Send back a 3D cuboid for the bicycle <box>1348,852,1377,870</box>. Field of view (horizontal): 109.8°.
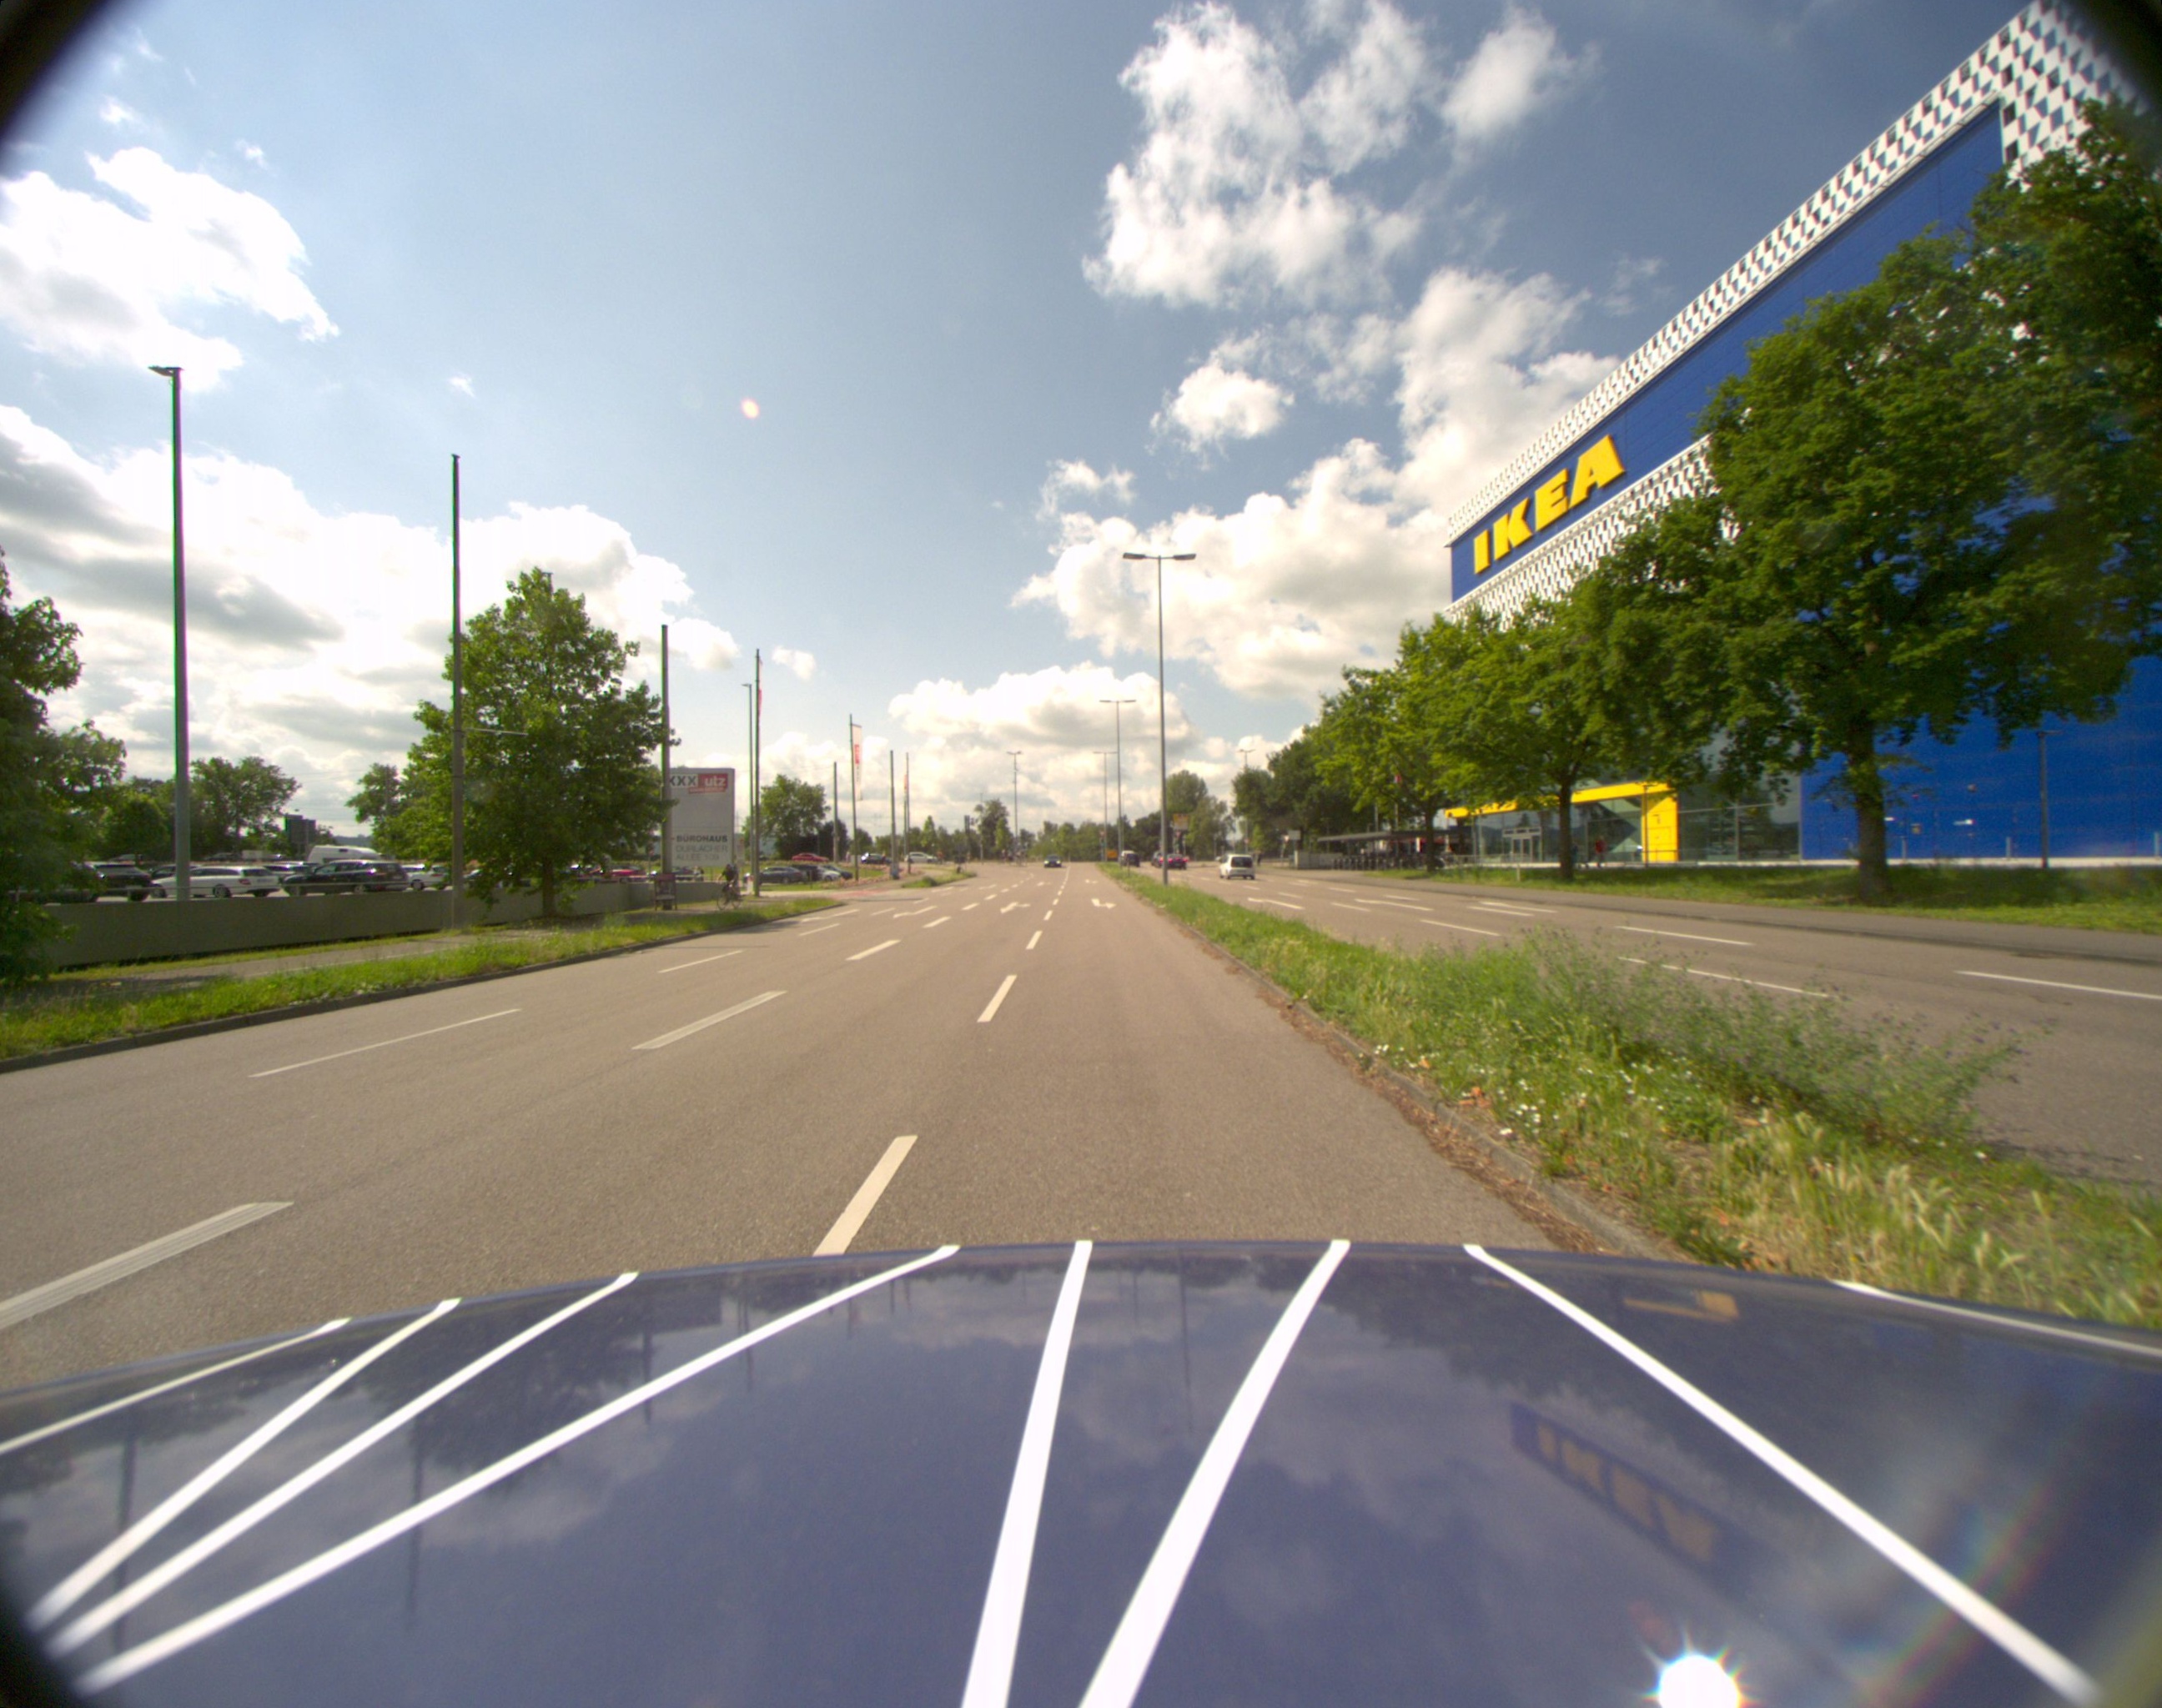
[{"bbox_3d":[20.846,0.538,56.322,1.930,1.265,0.630,-1,0,0],"label":"bicycle"}]

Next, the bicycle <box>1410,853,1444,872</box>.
[{"bbox_3d":[22.868,0.554,50.181,1.930,1.172,0.630,-1,0,0],"label":"bicycle"}]

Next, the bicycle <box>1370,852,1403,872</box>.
[{"bbox_3d":[20.692,0.540,51.485,1.930,1.265,0.630,-1,0,0],"label":"bicycle"}]

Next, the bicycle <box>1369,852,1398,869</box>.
[{"bbox_3d":[23.008,0.473,57.756,1.930,1.265,0.630,-1,0,0],"label":"bicycle"}]

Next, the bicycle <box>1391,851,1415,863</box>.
[{"bbox_3d":[28.394,0.274,66.945,1.940,1.064,0.529,-1,1,-5],"label":"bicycle"}]

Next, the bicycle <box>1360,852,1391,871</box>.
[{"bbox_3d":[20.910,0.552,53.949,1.930,1.265,0.630,-1,0,0],"label":"bicycle"}]

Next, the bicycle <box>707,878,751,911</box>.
[{"bbox_3d":[-12.291,1.399,26.600,0.625,1.061,1.968,0,0,1],"label":"bicycle"}]

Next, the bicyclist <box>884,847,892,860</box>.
[{"bbox_3d":[-22.569,-0.040,88.743,0.744,1.466,0.650,-1,0,-26],"label":"bicyclist"}]

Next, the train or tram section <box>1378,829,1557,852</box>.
[{"bbox_3d":[58.581,-2.024,115.669,25.114,3.014,4.530,1,0,-1],"label":"train or tram section"}]

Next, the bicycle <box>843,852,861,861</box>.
[{"bbox_3d":[-26.698,0.290,88.558,1.985,0.955,0.597,-1,0,9],"label":"bicycle"}]

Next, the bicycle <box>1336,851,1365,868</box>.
[{"bbox_3d":[20.793,0.439,58.619,1.930,1.265,0.630,-1,0,0],"label":"bicycle"}]

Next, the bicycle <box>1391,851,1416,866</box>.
[{"bbox_3d":[27.890,0.391,65.781,1.961,1.165,0.467,-1,0,-4],"label":"bicycle"}]

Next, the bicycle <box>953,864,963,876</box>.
[{"bbox_3d":[-9.690,1.249,60.014,0.518,0.947,1.543,-1,1,0],"label":"bicycle"}]

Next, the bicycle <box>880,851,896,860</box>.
[{"bbox_3d":[-22.566,0.186,88.728,1.698,0.955,0.665,-1,-1,-25],"label":"bicycle"}]

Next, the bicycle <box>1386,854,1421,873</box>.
[{"bbox_3d":[20.814,0.583,49.067,1.930,1.176,0.630,-1,0,0],"label":"bicycle"}]

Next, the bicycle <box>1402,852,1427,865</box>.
[{"bbox_3d":[28.499,0.398,64.972,1.939,1.064,0.529,-1,1,-4],"label":"bicycle"}]

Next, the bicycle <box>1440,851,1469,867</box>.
[{"bbox_3d":[28.930,0.374,58.842,1.950,1.236,0.597,-1,1,-4],"label":"bicycle"}]

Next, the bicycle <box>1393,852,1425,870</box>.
[{"bbox_3d":[22.925,0.491,53.054,1.930,1.265,0.630,-1,0,0],"label":"bicycle"}]

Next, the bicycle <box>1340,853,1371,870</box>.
[{"bbox_3d":[20.778,0.592,57.621,2.094,1.265,0.630,-1,0,0],"label":"bicycle"}]

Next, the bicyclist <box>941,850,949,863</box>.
[{"bbox_3d":[-16.448,0.304,91.976,0.698,1.526,0.619,-1,0,-37],"label":"bicyclist"}]

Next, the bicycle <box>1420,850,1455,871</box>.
[{"bbox_3d":[22.999,0.429,49.085,1.930,1.265,0.630,-1,0,0],"label":"bicycle"}]

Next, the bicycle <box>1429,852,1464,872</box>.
[{"bbox_3d":[23.097,0.509,48.043,1.930,1.177,0.630,-1,0,0],"label":"bicycle"}]

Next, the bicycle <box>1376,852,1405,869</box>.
[{"bbox_3d":[22.951,0.490,56.348,1.930,1.265,0.630,-1,0,0],"label":"bicycle"}]

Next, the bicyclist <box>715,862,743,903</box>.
[{"bbox_3d":[-12.295,0.987,26.542,0.617,1.404,0.715,-1,0,1],"label":"bicyclist"}]

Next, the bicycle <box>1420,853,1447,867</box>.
[{"bbox_3d":[28.835,0.483,62.159,1.935,1.083,0.520,-1,0,-4],"label":"bicycle"}]

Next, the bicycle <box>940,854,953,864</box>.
[{"bbox_3d":[-16.300,0.644,92.073,1.507,1.158,0.619,-1,-1,-36],"label":"bicycle"}]

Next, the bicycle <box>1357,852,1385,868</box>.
[{"bbox_3d":[22.869,0.483,59.956,1.930,1.265,0.630,-1,0,0],"label":"bicycle"}]

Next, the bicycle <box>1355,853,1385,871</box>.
[{"bbox_3d":[20.939,0.582,55.032,1.930,1.265,0.630,-1,0,0],"label":"bicycle"}]

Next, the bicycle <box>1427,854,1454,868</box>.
[{"bbox_3d":[28.874,0.553,61.058,1.939,1.064,0.529,-1,1,-4],"label":"bicycle"}]

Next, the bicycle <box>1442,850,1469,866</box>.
[{"bbox_3d":[29.385,0.316,59.645,1.939,1.202,0.529,-1,1,-4],"label":"bicycle"}]

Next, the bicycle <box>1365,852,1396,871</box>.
[{"bbox_3d":[20.847,0.537,52.878,1.930,1.265,0.630,-1,0,0],"label":"bicycle"}]

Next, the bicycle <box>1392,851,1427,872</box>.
[{"bbox_3d":[20.733,0.476,47.973,1.930,1.265,0.630,-1,0,0],"label":"bicycle"}]

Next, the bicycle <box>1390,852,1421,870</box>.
[{"bbox_3d":[23.064,0.491,53.973,1.930,1.265,0.630,-1,0,0],"label":"bicycle"}]

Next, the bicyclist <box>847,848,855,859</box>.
[{"bbox_3d":[-26.769,-0.046,88.573,0.686,1.317,0.593,-1,0,10],"label":"bicyclist"}]

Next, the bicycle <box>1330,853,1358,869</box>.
[{"bbox_3d":[20.755,0.566,59.965,1.930,1.265,0.630,-1,0,0],"label":"bicycle"}]

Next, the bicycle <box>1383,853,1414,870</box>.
[{"bbox_3d":[22.979,0.533,54.974,1.930,1.176,0.630,-1,0,0],"label":"bicycle"}]
